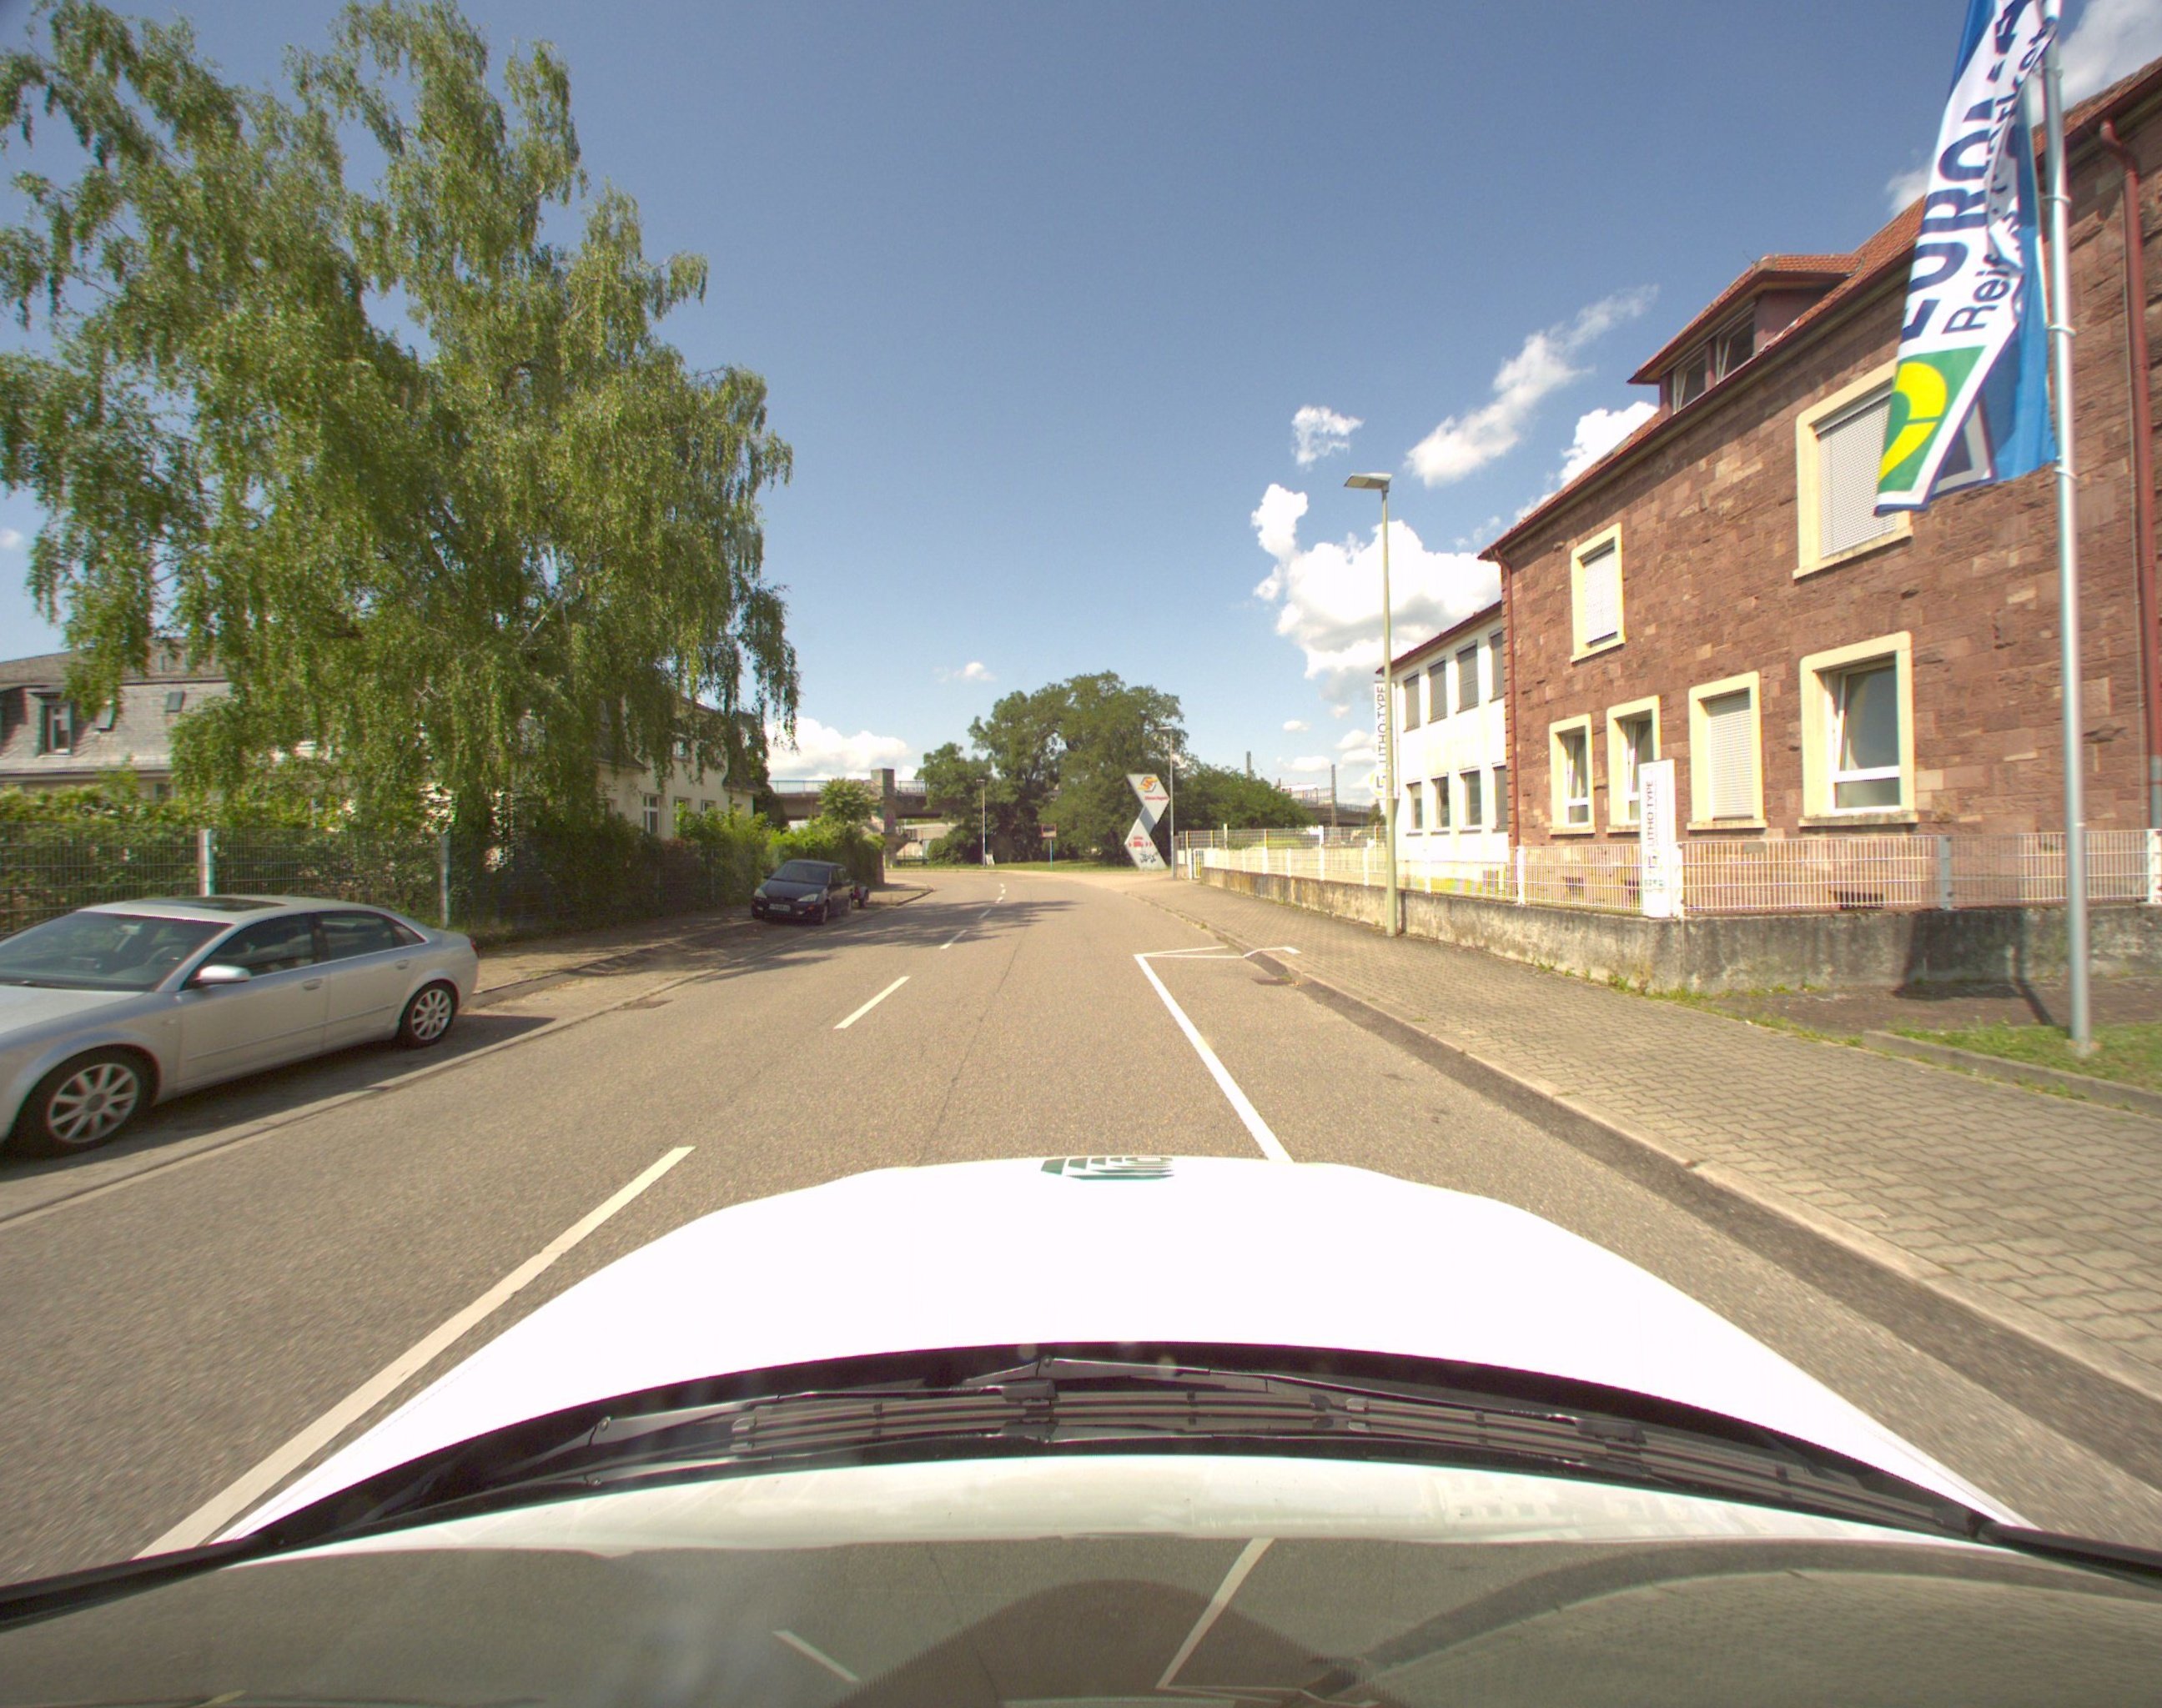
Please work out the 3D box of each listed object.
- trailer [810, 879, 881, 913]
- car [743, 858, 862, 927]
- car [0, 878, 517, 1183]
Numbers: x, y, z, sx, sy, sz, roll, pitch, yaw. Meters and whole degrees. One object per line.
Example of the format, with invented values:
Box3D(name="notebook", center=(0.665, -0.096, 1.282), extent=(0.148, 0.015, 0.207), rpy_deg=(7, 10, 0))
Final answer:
Box3D(name="trailer", center=(-7.270, 1.288, 25.323), extent=(1.460, 0.851, 2.466), rpy_deg=(3, 0, -1))
Box3D(name="car", center=(-6.990, 0.911, 20.904), extent=(1.678, 1.512, 4.154), rpy_deg=(3, -1, -2))
Box3D(name="car", center=(-6.884, 1.041, 6.399), extent=(1.719, 1.477, 4.628), rpy_deg=(3, 0, -2))
